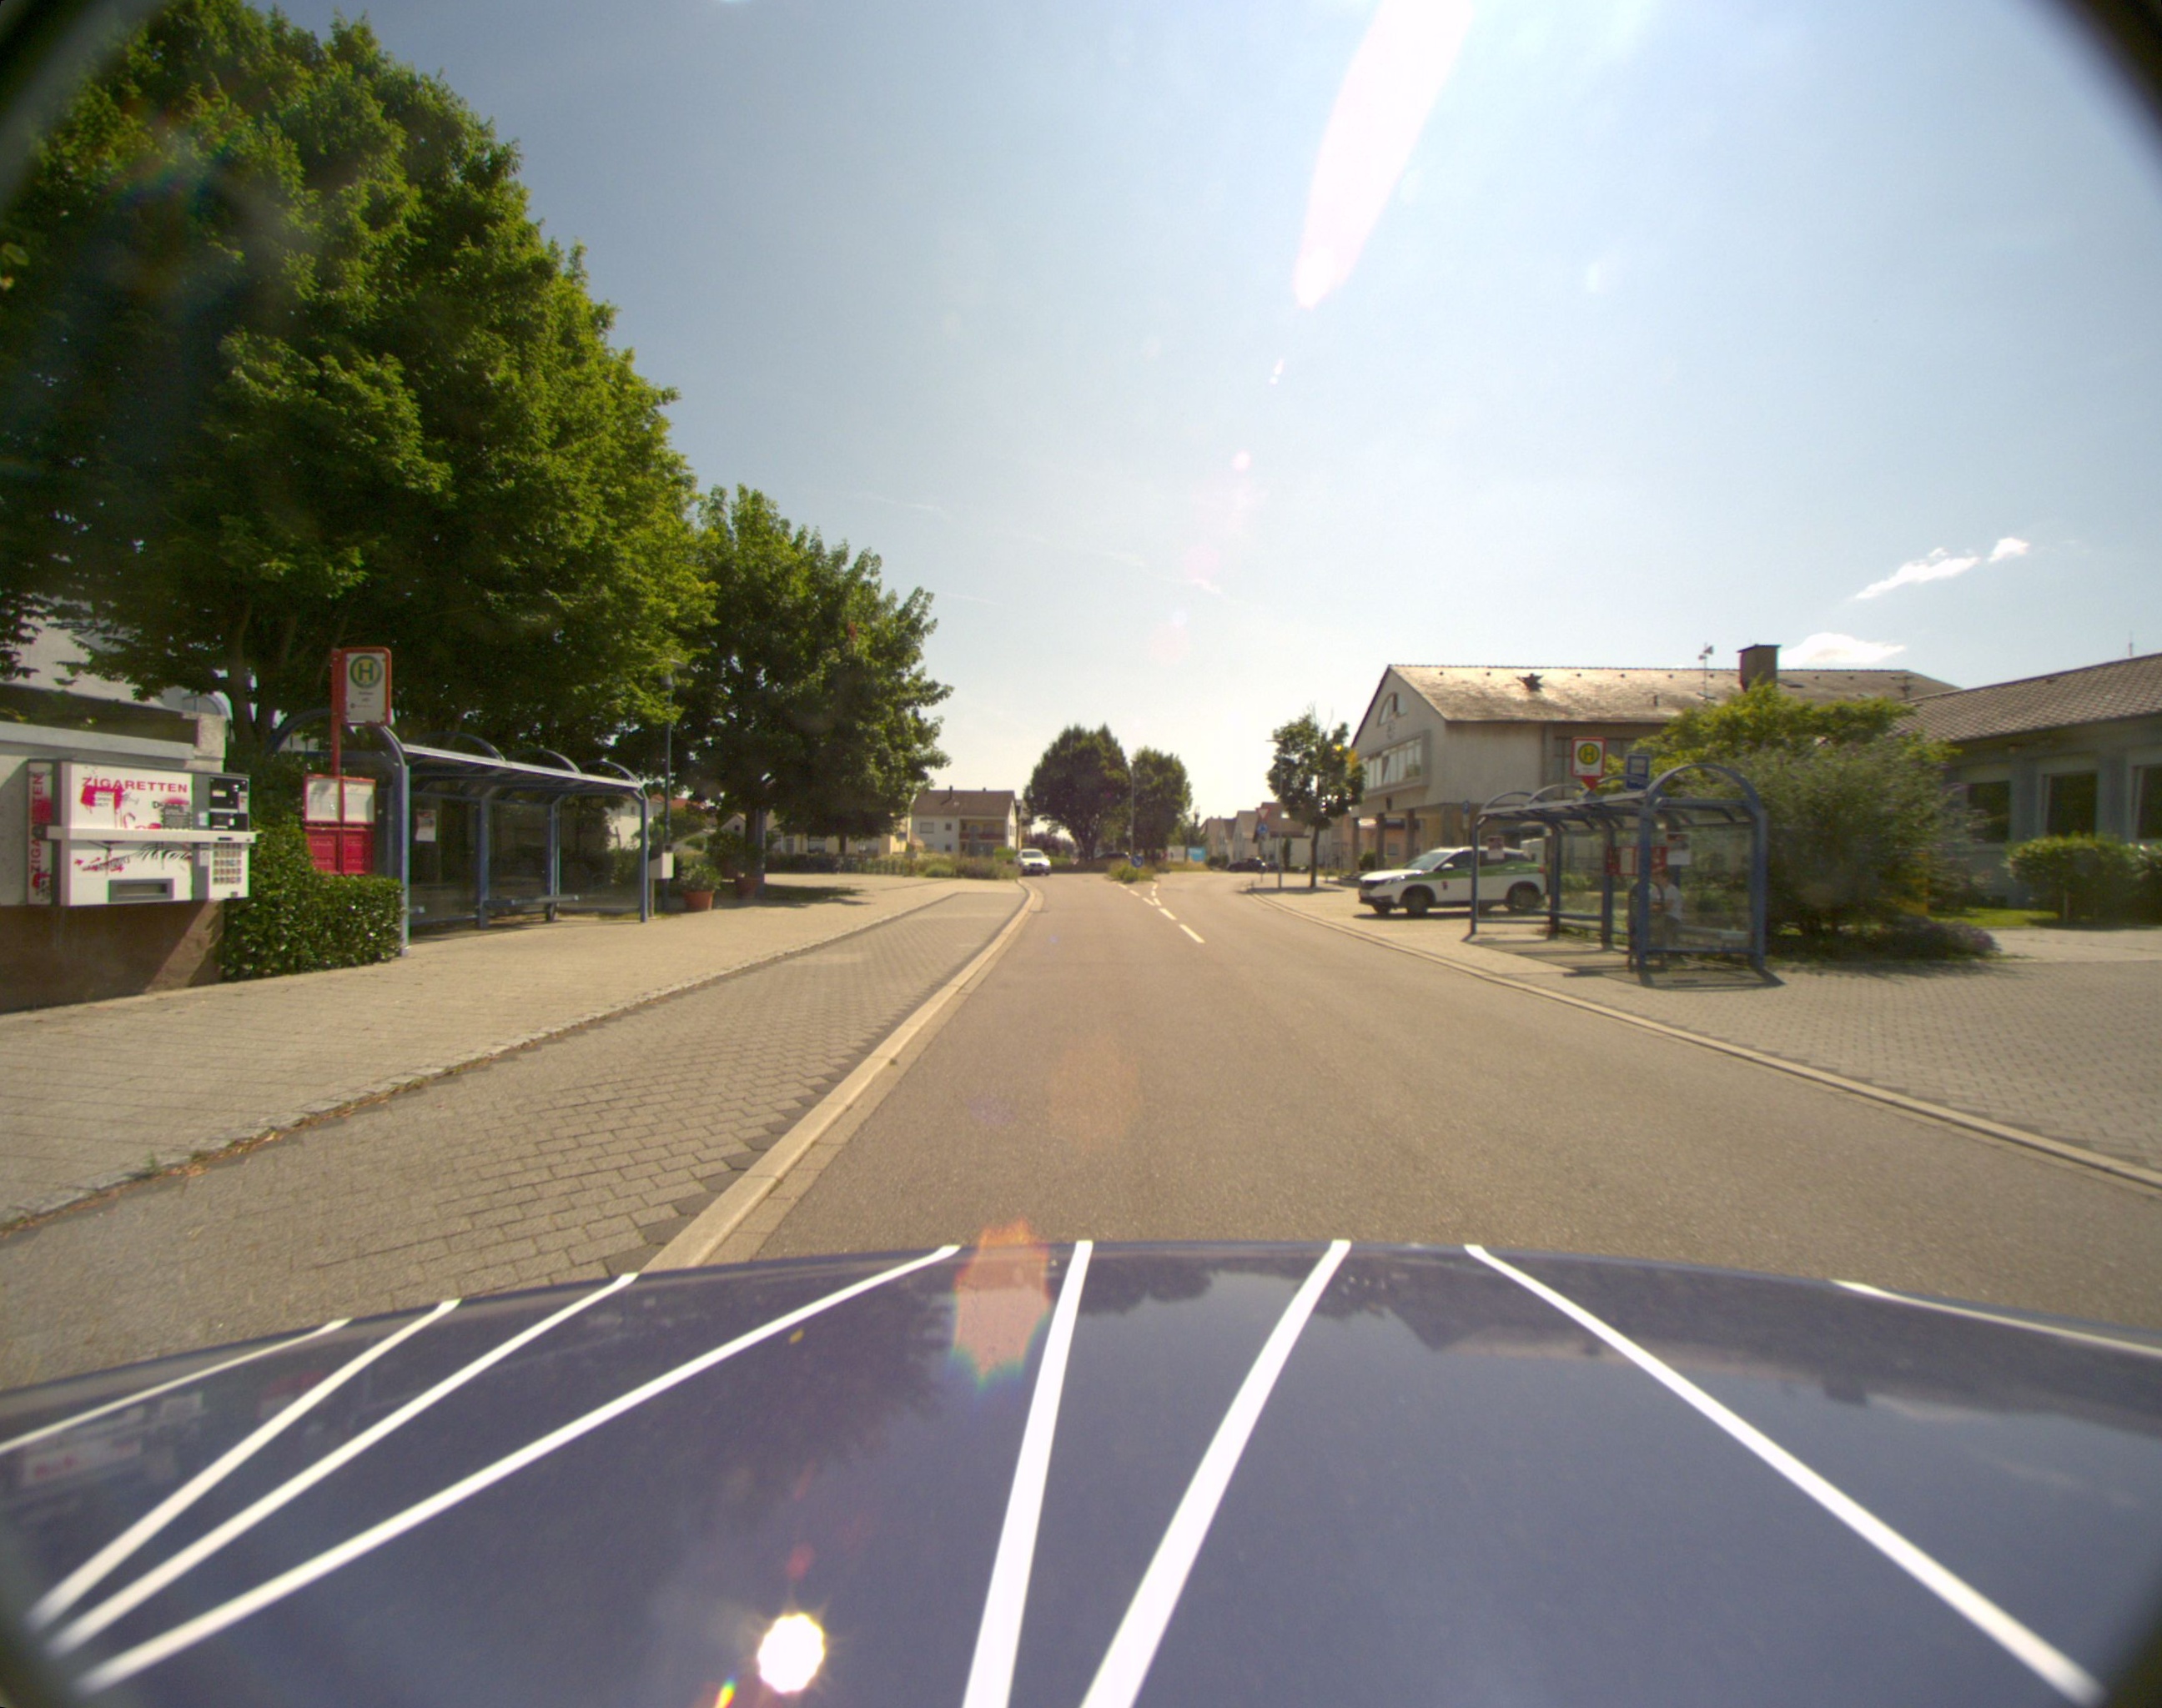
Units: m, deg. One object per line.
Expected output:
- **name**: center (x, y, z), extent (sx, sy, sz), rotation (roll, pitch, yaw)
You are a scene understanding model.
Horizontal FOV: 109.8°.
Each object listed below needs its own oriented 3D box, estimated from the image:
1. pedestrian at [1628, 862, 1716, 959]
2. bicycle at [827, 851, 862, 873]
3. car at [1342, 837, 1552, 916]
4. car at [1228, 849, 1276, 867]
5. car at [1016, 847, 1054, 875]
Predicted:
- **pedestrian**: center (8.493, 0.798, 10.951), extent (0.787, 1.350, 0.607), rotation (0, 1, 1)
- **bicycle**: center (-12.447, 0.390, 40.043), extent (0.838, 1.105, 2.631), rotation (0, 1, 4)
- **car**: center (8.933, 0.502, 18.755), extent (4.251, 1.709, 1.944), rotation (-2, 1, -5)
- **car**: center (15.004, 0.353, 66.752), extent (3.993, 1.484, 2.001), rotation (-1, 1, 12)
- **car**: center (-2.936, 0.373, 47.246), extent (1.859, 1.604, 4.130), rotation (-2, 1, -10)
